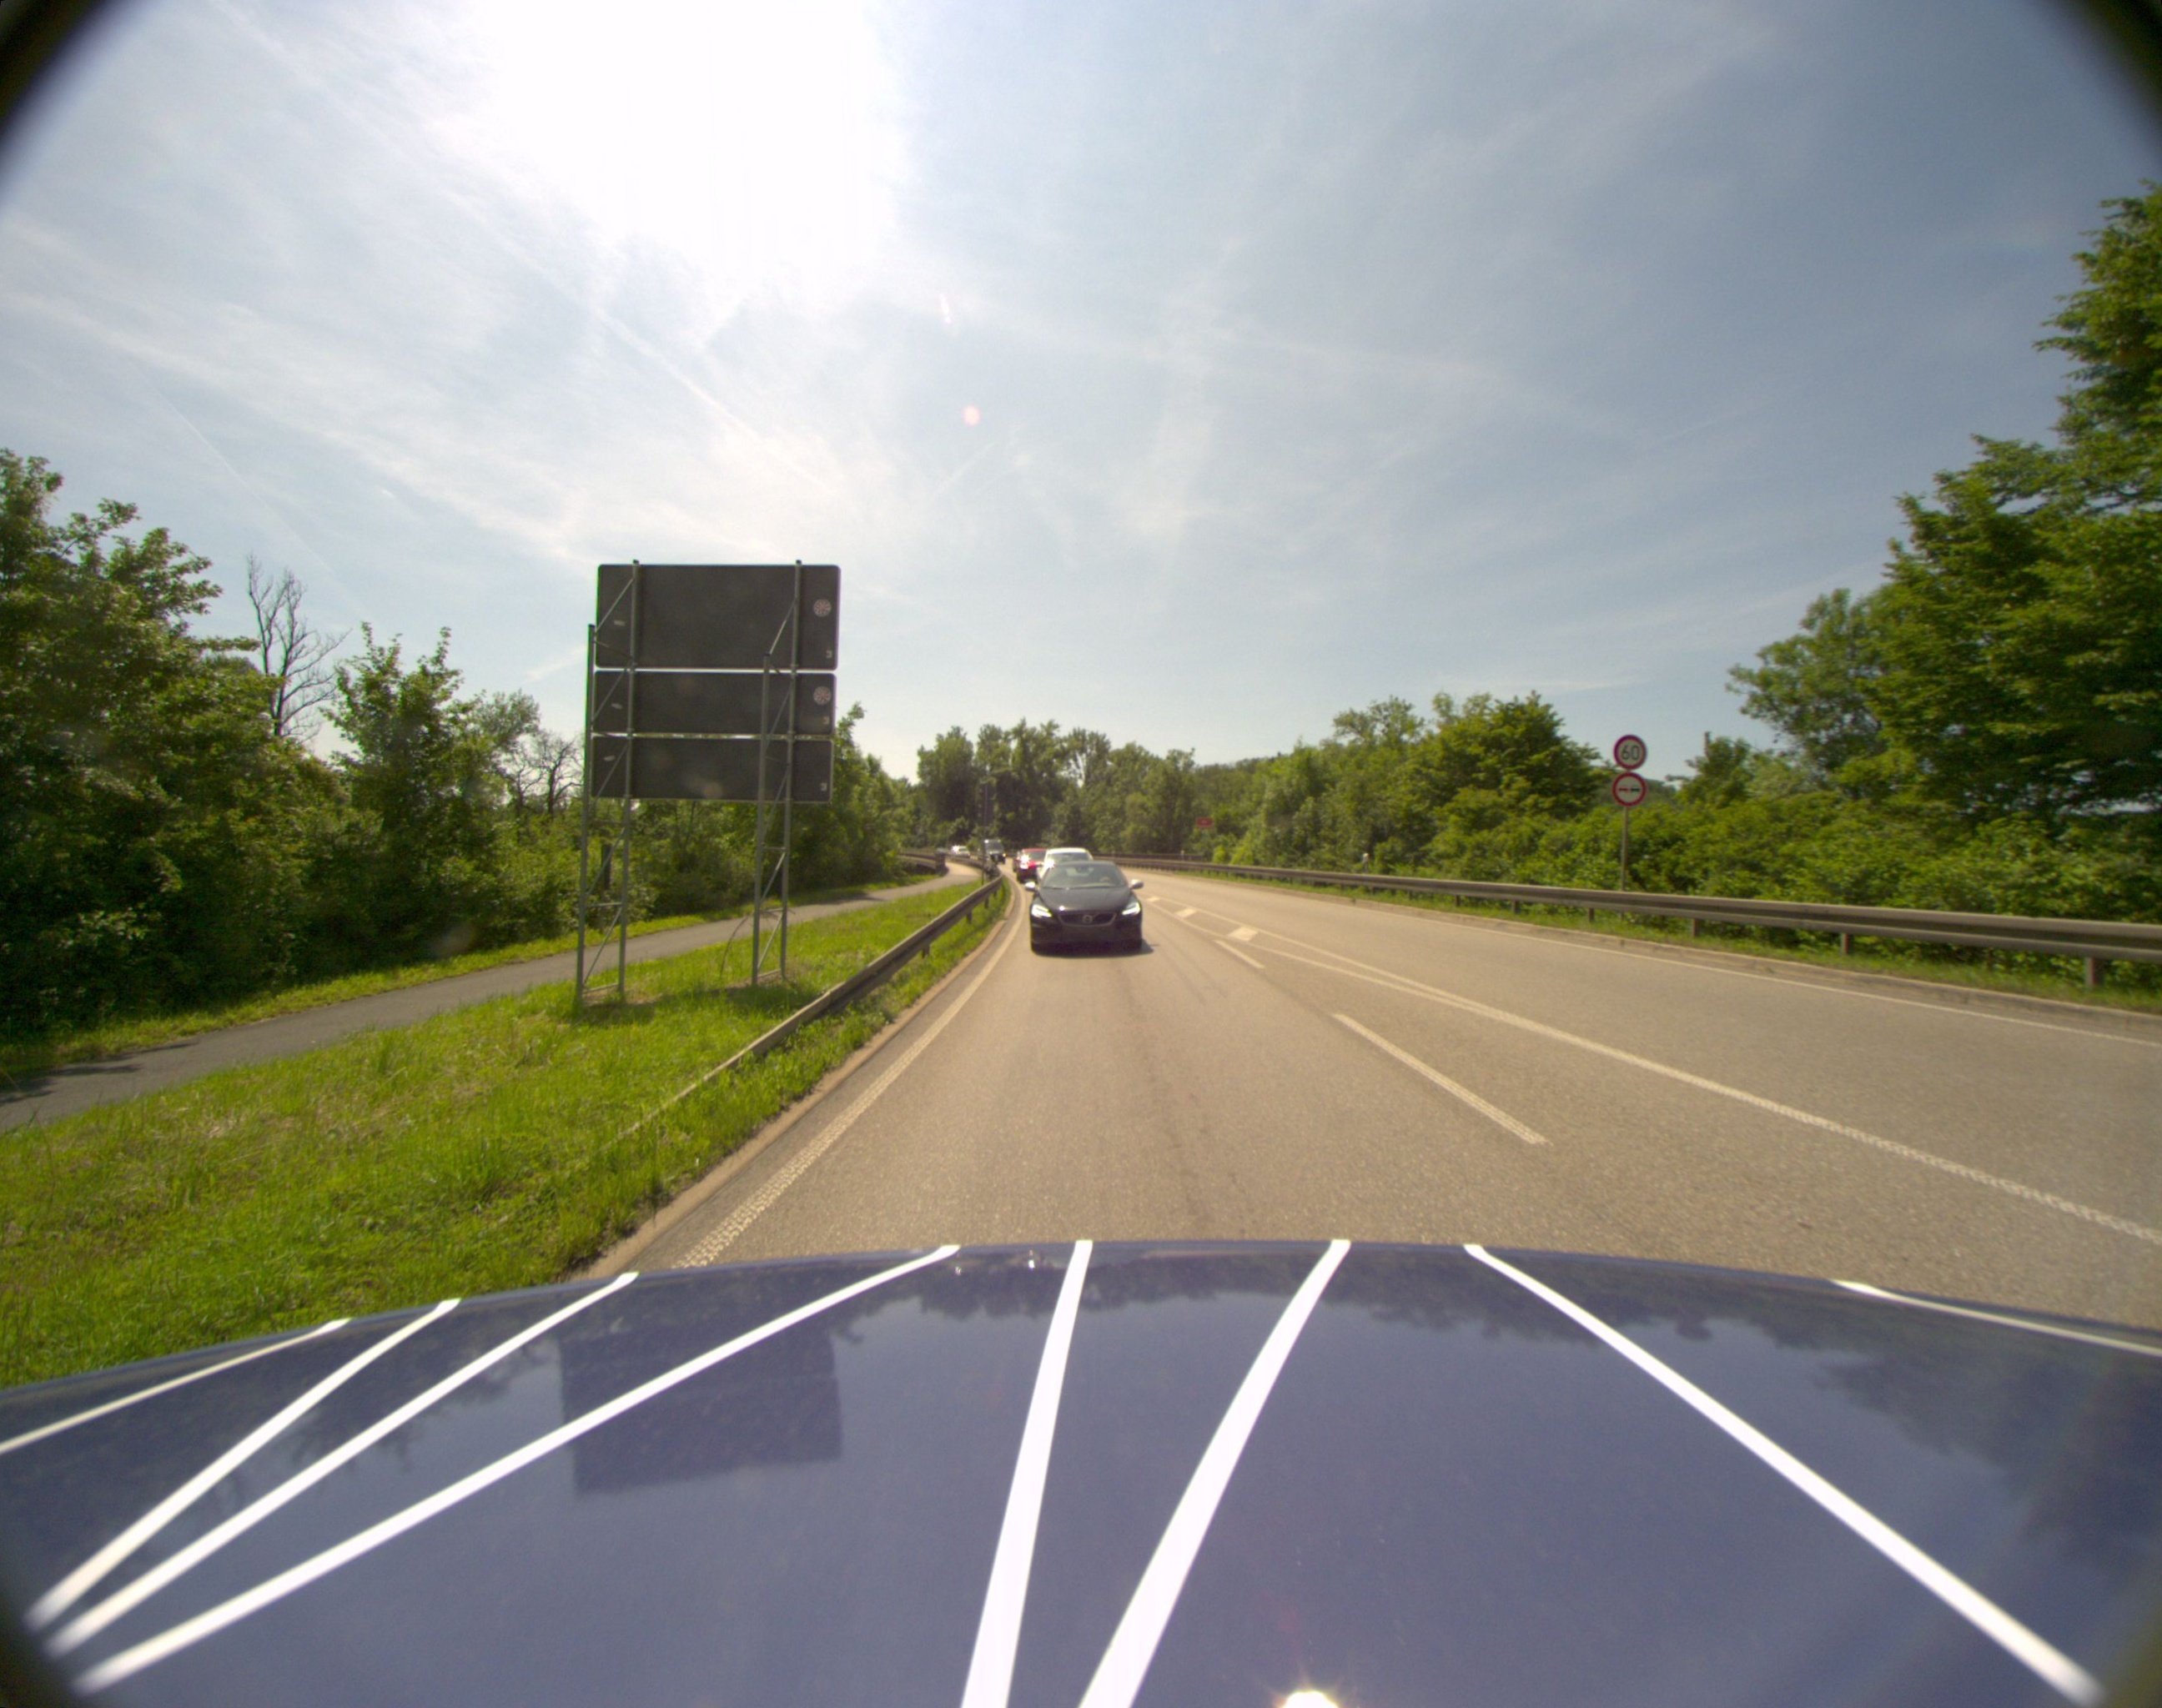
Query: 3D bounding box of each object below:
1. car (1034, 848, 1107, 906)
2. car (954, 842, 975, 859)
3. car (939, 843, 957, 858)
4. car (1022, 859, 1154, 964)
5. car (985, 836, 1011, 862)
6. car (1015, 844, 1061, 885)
[{"bbox_3d":[-0.421,0.650,23.985,1.910,1.638,3.947,-2,1,-6],"label":"car"},{"bbox_3d":[-14.593,-0.465,94.993,2.001,2.002,4.705,-2,2,-16],"label":"car"},{"bbox_3d":[-19.353,-0.512,110.583,2.001,2.002,3.993,-3,2,-17],"label":"car"},{"bbox_3d":[-0.004,0.855,13.184,1.910,1.413,3.948,-2,1,-3],"label":"car"},{"bbox_3d":[-8.560,-0.580,77.728,2.001,2.471,4.852,-2,2,-13],"label":"car"},{"bbox_3d":[-2.189,0.453,37.582,2.000,1.766,3.996,-2,2,-6],"label":"car"}]
